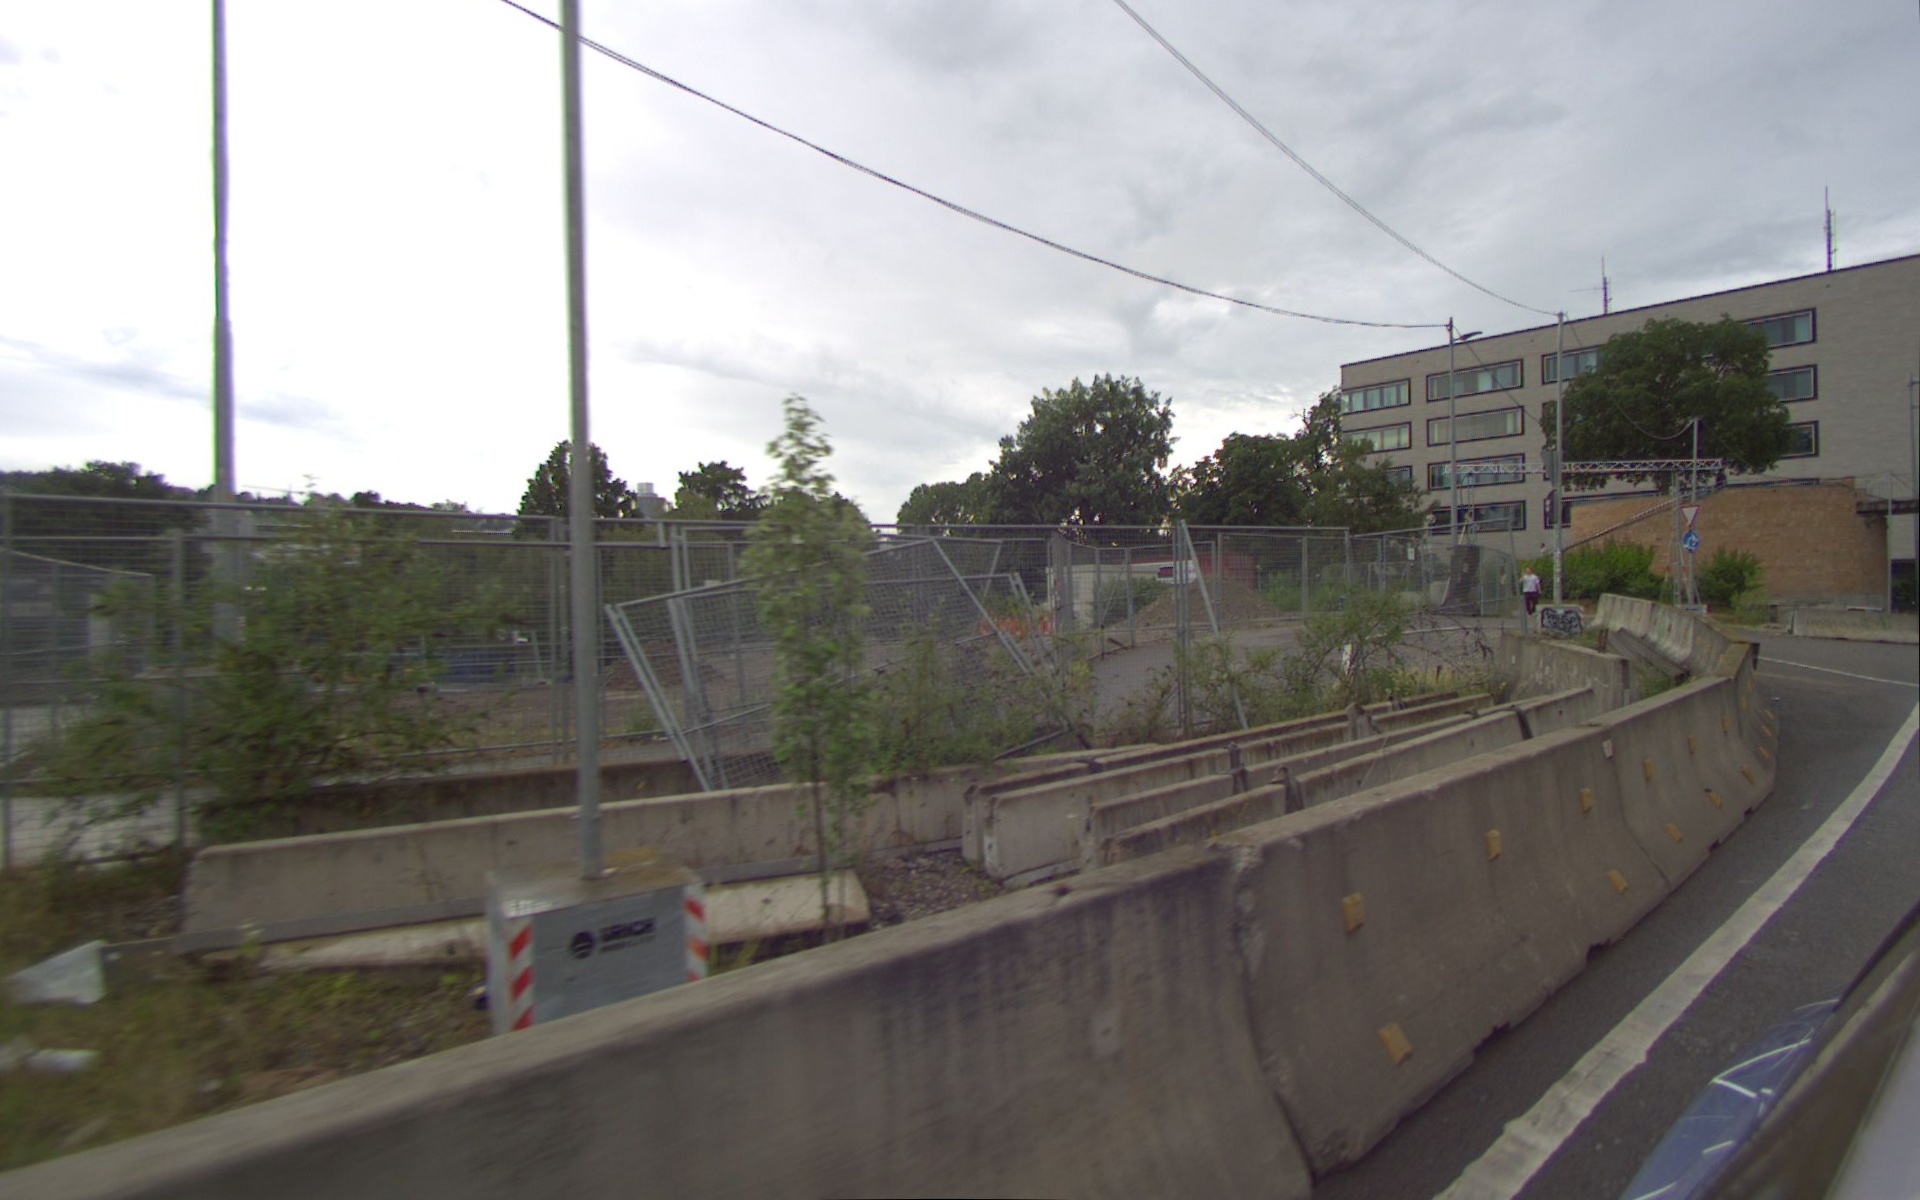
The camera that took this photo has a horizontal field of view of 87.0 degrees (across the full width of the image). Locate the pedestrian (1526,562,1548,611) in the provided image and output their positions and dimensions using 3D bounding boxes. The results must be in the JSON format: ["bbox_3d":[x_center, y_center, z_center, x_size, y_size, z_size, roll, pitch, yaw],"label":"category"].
[{"bbox_3d":[21.369,-0.500,37.508,0.686,1.800,0.807,-1,0,30],"label":"pedestrian"}]
